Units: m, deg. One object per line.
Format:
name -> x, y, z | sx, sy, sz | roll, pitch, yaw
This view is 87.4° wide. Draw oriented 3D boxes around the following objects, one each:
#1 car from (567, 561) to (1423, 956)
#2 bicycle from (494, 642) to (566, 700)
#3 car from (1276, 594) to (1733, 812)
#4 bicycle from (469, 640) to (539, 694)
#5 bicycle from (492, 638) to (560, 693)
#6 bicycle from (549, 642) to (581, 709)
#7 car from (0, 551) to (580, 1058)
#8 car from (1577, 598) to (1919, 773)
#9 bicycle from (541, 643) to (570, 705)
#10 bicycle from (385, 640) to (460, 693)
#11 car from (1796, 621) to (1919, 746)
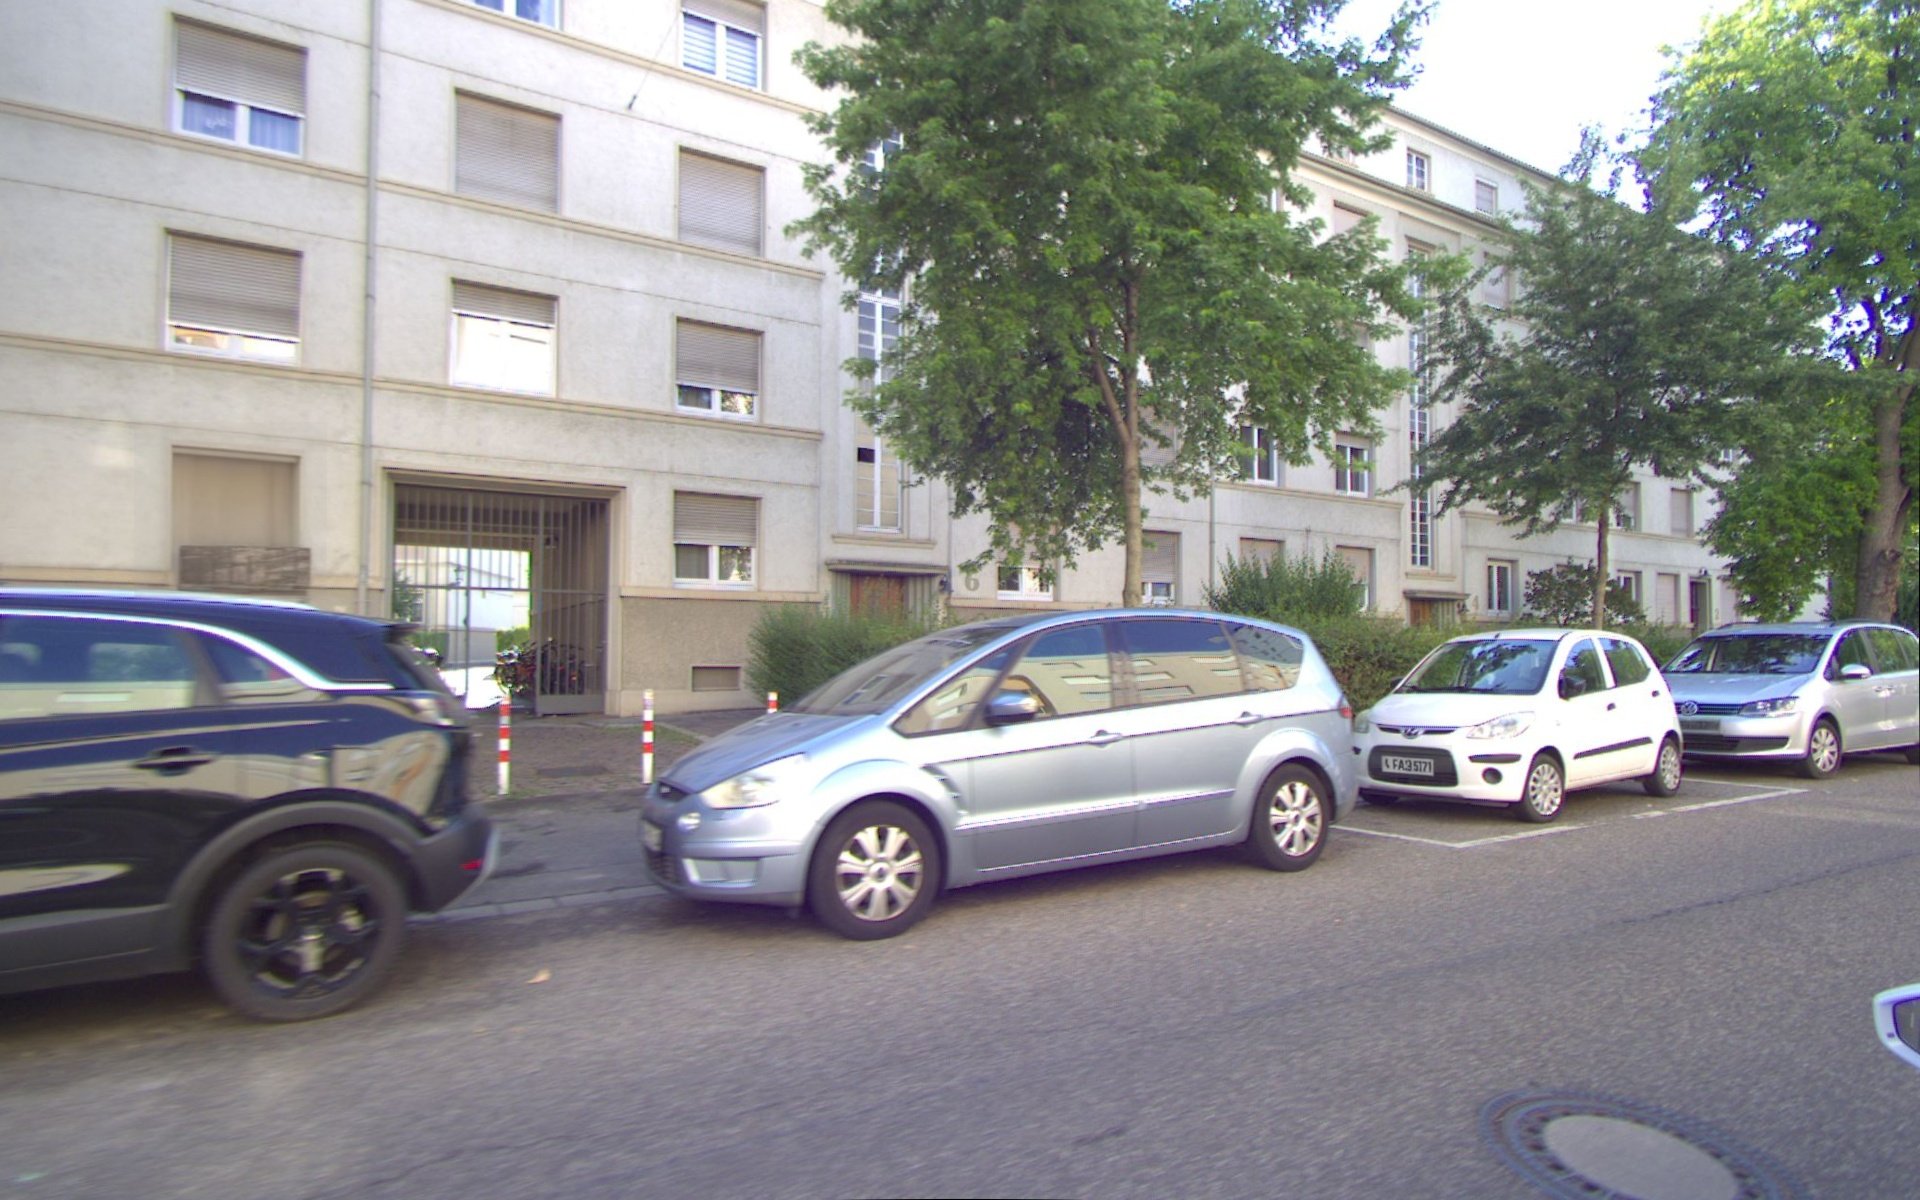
car -> 0.392, 0.773, 6.134 | 4.998, 1.578, 1.863 | 1, -6, -31
bicycle -> -9.264, 1.497, 21.728 | 0.487, 1.126, 2.236 | 2, -1, 2
car -> 5.009, 0.867, 9.156 | 4.054, 1.578, 1.862 | 3, -3, -31
bicycle -> -10.567, 1.531, 23.357 | 0.487, 1.126, 2.236 | 2, -1, 2
bicycle -> -9.918, 1.474, 23.031 | 0.487, 1.126, 2.236 | 2, -1, 2
bicycle -> -7.503, 1.398, 19.082 | 0.489, 1.126, 2.223 | 2, -1, -22
car -> -3.861, 0.669, 3.727 | 4.315, 1.578, 1.862 | 3, -5, -31
car -> 9.610, 0.976, 11.854 | 4.917, 1.699, 1.907 | 3, -4, -31
bicycle -> -8.371, 1.507, 20.790 | 0.489, 1.126, 2.223 | 2, -1, -22
bicycle -> -12.740, 1.550, 23.874 | 0.487, 1.126, 2.236 | 2, -1, 2
car -> 13.923, 1.177, 14.171 | 4.445, 1.578, 1.862 | 3, -5, -31
